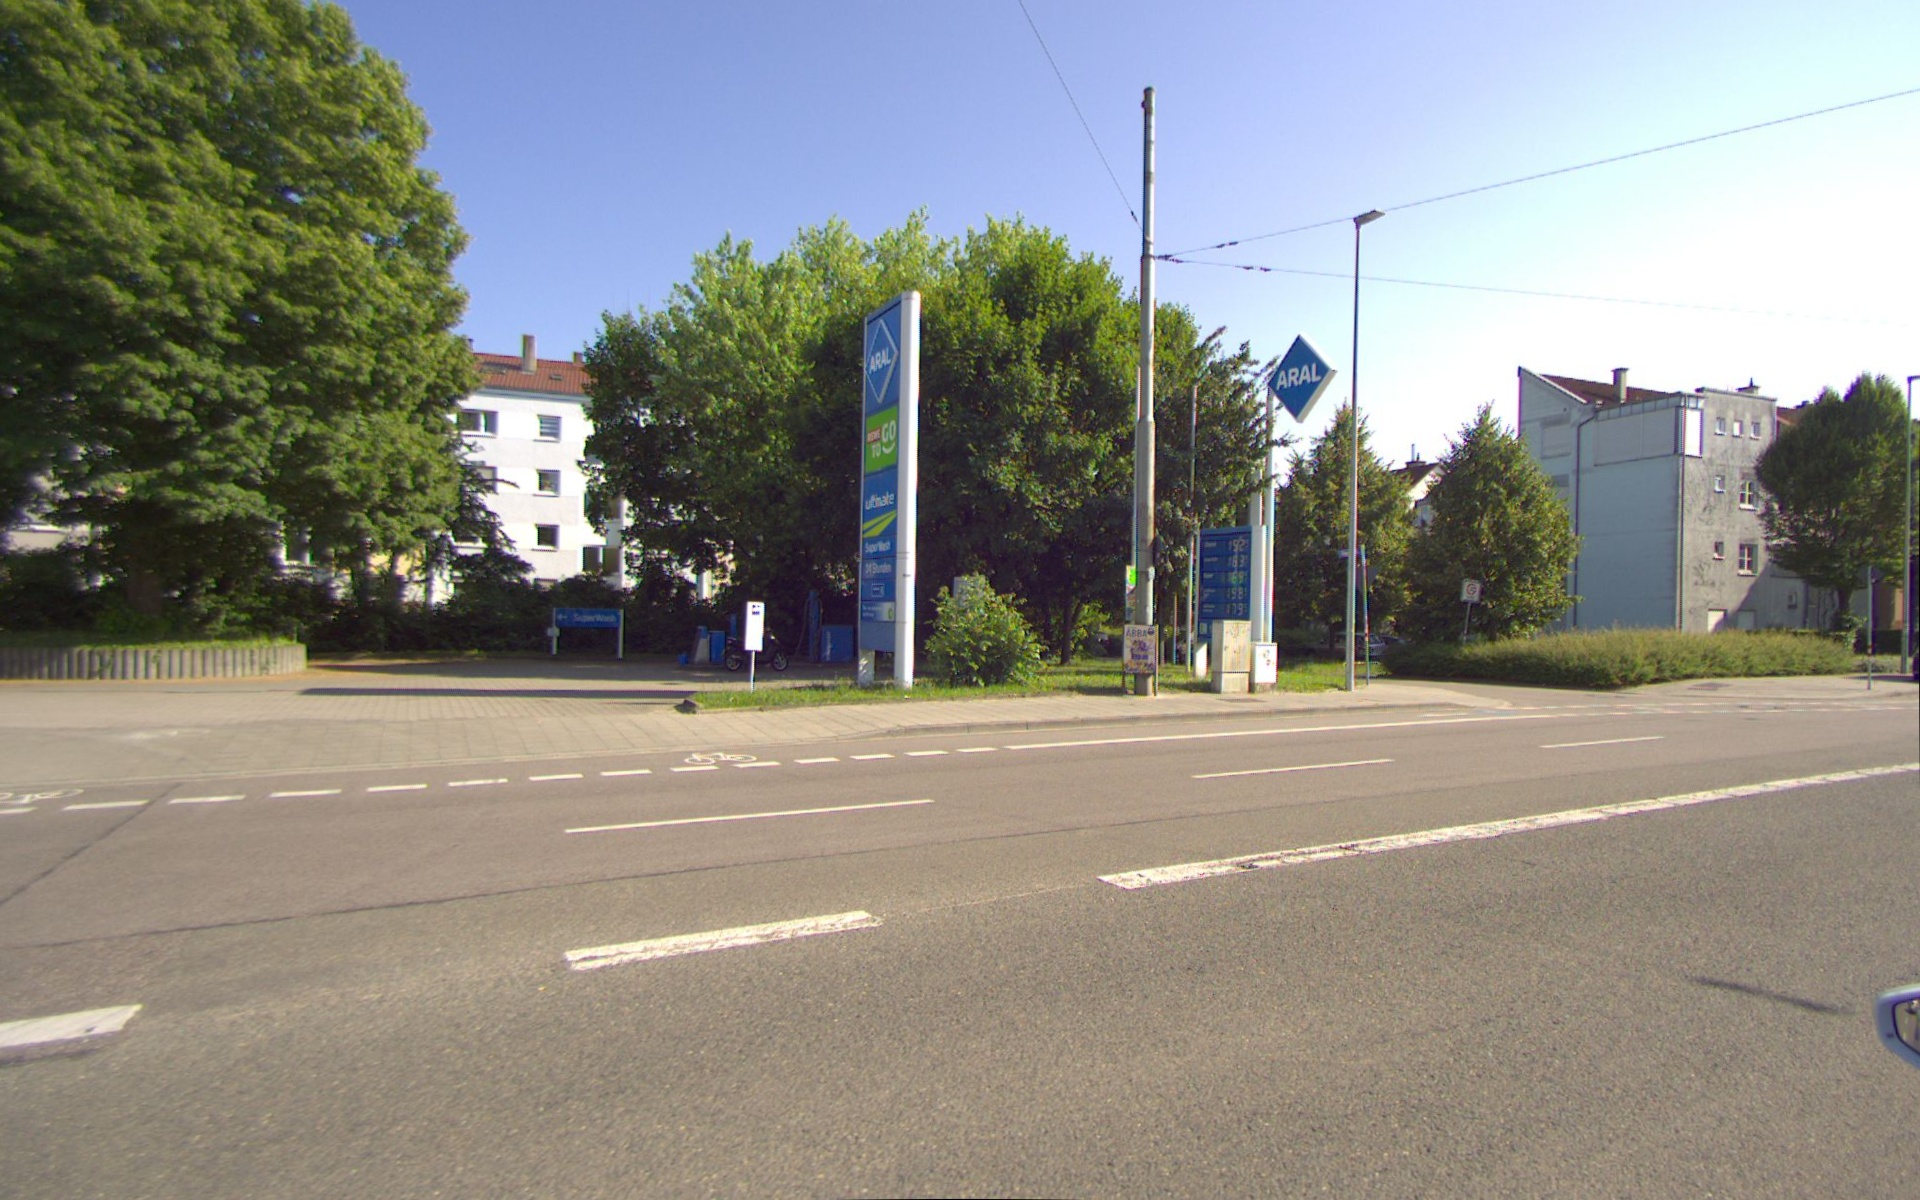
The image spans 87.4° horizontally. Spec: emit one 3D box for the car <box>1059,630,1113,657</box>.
[{"bbox_3d":[7.133,2.448,57.316,1.677,1.409,3.988,1,-1,-15],"label":"car"}]

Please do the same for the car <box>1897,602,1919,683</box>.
[{"bbox_3d":[32.431,1.388,31.965,6.113,2.491,2.141,1,2,-31],"label":"car"}]

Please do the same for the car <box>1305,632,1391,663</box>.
[{"bbox_3d":[17.715,2.142,46.004,1.716,1.285,3.782,1,-1,-17],"label":"car"}]

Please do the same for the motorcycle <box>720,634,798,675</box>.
[{"bbox_3d":[-5.106,1.382,25.575,1.883,0.995,0.515,1,-1,-31],"label":"motorcycle"}]

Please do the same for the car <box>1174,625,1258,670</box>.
[{"bbox_3d":[10.899,1.995,43.042,1.743,1.719,3.988,3,-2,-15],"label":"car"}]
